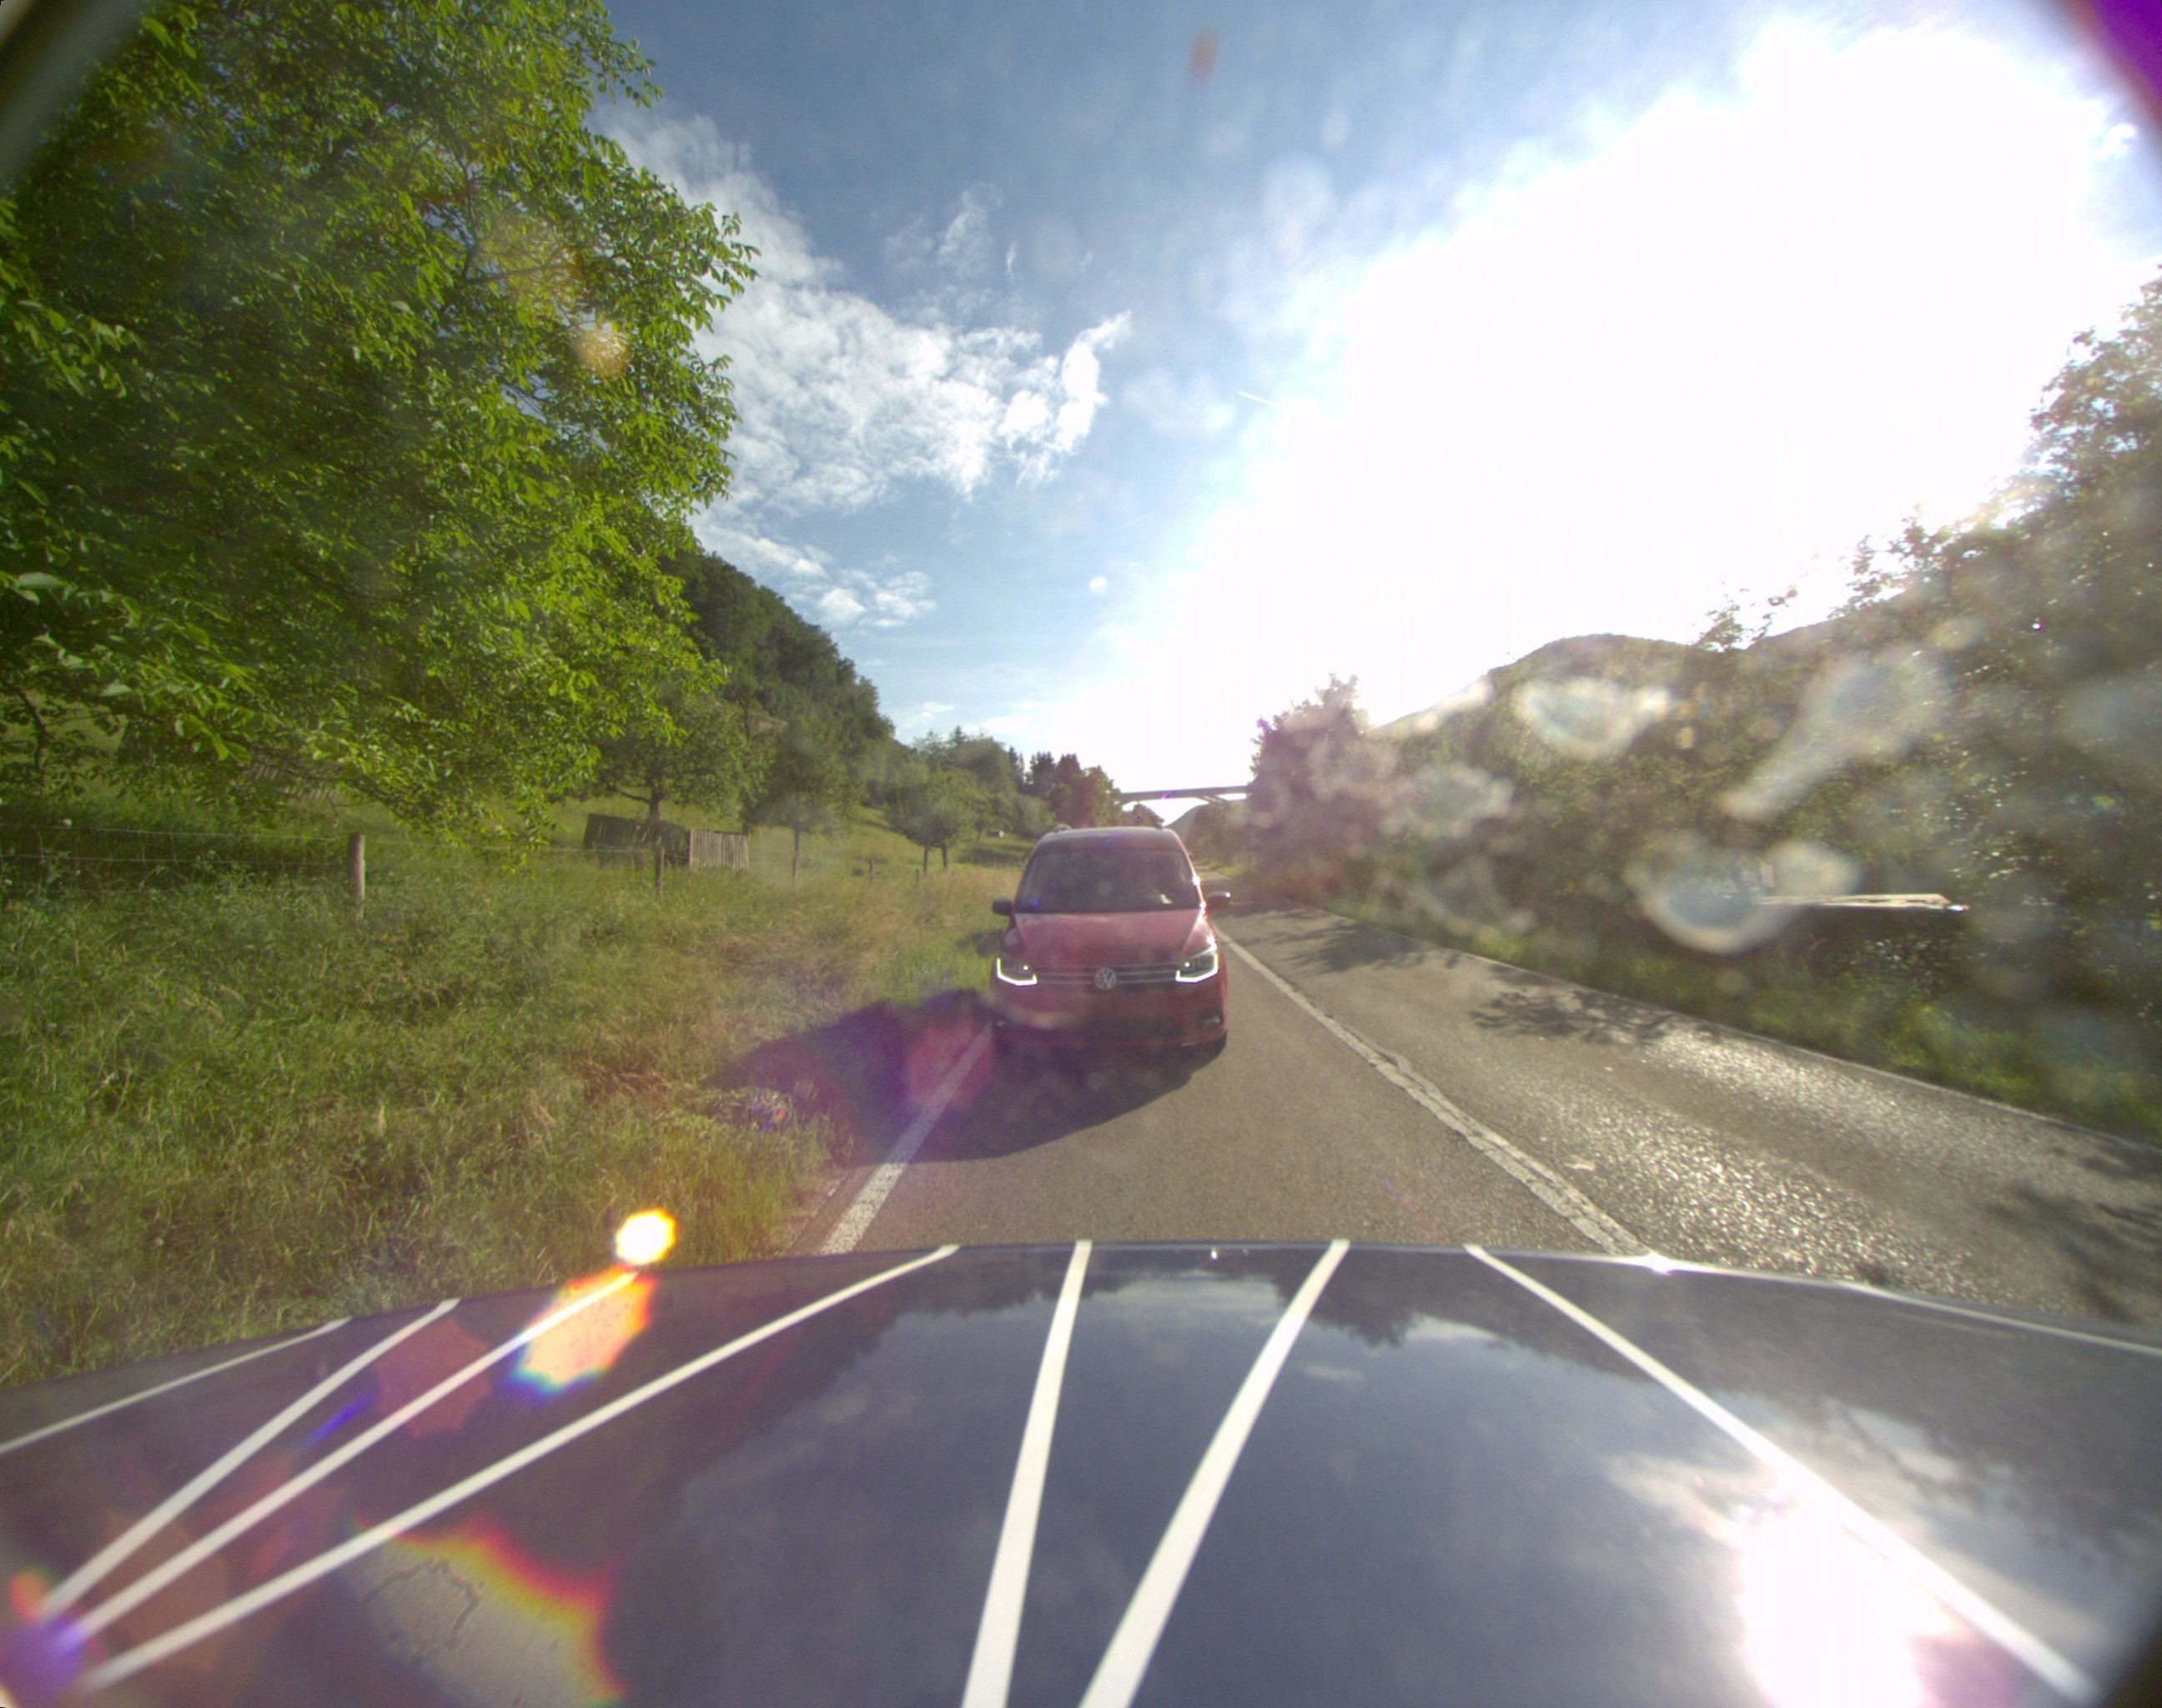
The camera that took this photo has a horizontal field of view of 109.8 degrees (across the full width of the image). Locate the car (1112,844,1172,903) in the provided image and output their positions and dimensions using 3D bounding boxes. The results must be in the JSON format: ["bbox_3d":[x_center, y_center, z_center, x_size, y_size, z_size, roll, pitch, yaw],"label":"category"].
[{"bbox_3d":[2.000,0.567,25.045,1.758,1.745,4.001,-2,1,5],"label":"car"}]

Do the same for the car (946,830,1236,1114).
[{"bbox_3d":[0.203,0.721,6.981,1.759,1.745,4.430,-2,1,4],"label":"car"}]

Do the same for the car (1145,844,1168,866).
[{"bbox_3d":[7.345,0.034,74.067,1.998,2.002,4.000,-2,1,4],"label":"car"}]

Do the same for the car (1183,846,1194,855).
[{"bbox_3d":[17.055,-0.549,120.758,1.597,1.346,4.204,-2,1,5],"label":"car"}]

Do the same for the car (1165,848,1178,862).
[{"bbox_3d":[14.151,0.125,118.930,1.998,2.002,4.001,-2,1,6],"label":"car"}]
